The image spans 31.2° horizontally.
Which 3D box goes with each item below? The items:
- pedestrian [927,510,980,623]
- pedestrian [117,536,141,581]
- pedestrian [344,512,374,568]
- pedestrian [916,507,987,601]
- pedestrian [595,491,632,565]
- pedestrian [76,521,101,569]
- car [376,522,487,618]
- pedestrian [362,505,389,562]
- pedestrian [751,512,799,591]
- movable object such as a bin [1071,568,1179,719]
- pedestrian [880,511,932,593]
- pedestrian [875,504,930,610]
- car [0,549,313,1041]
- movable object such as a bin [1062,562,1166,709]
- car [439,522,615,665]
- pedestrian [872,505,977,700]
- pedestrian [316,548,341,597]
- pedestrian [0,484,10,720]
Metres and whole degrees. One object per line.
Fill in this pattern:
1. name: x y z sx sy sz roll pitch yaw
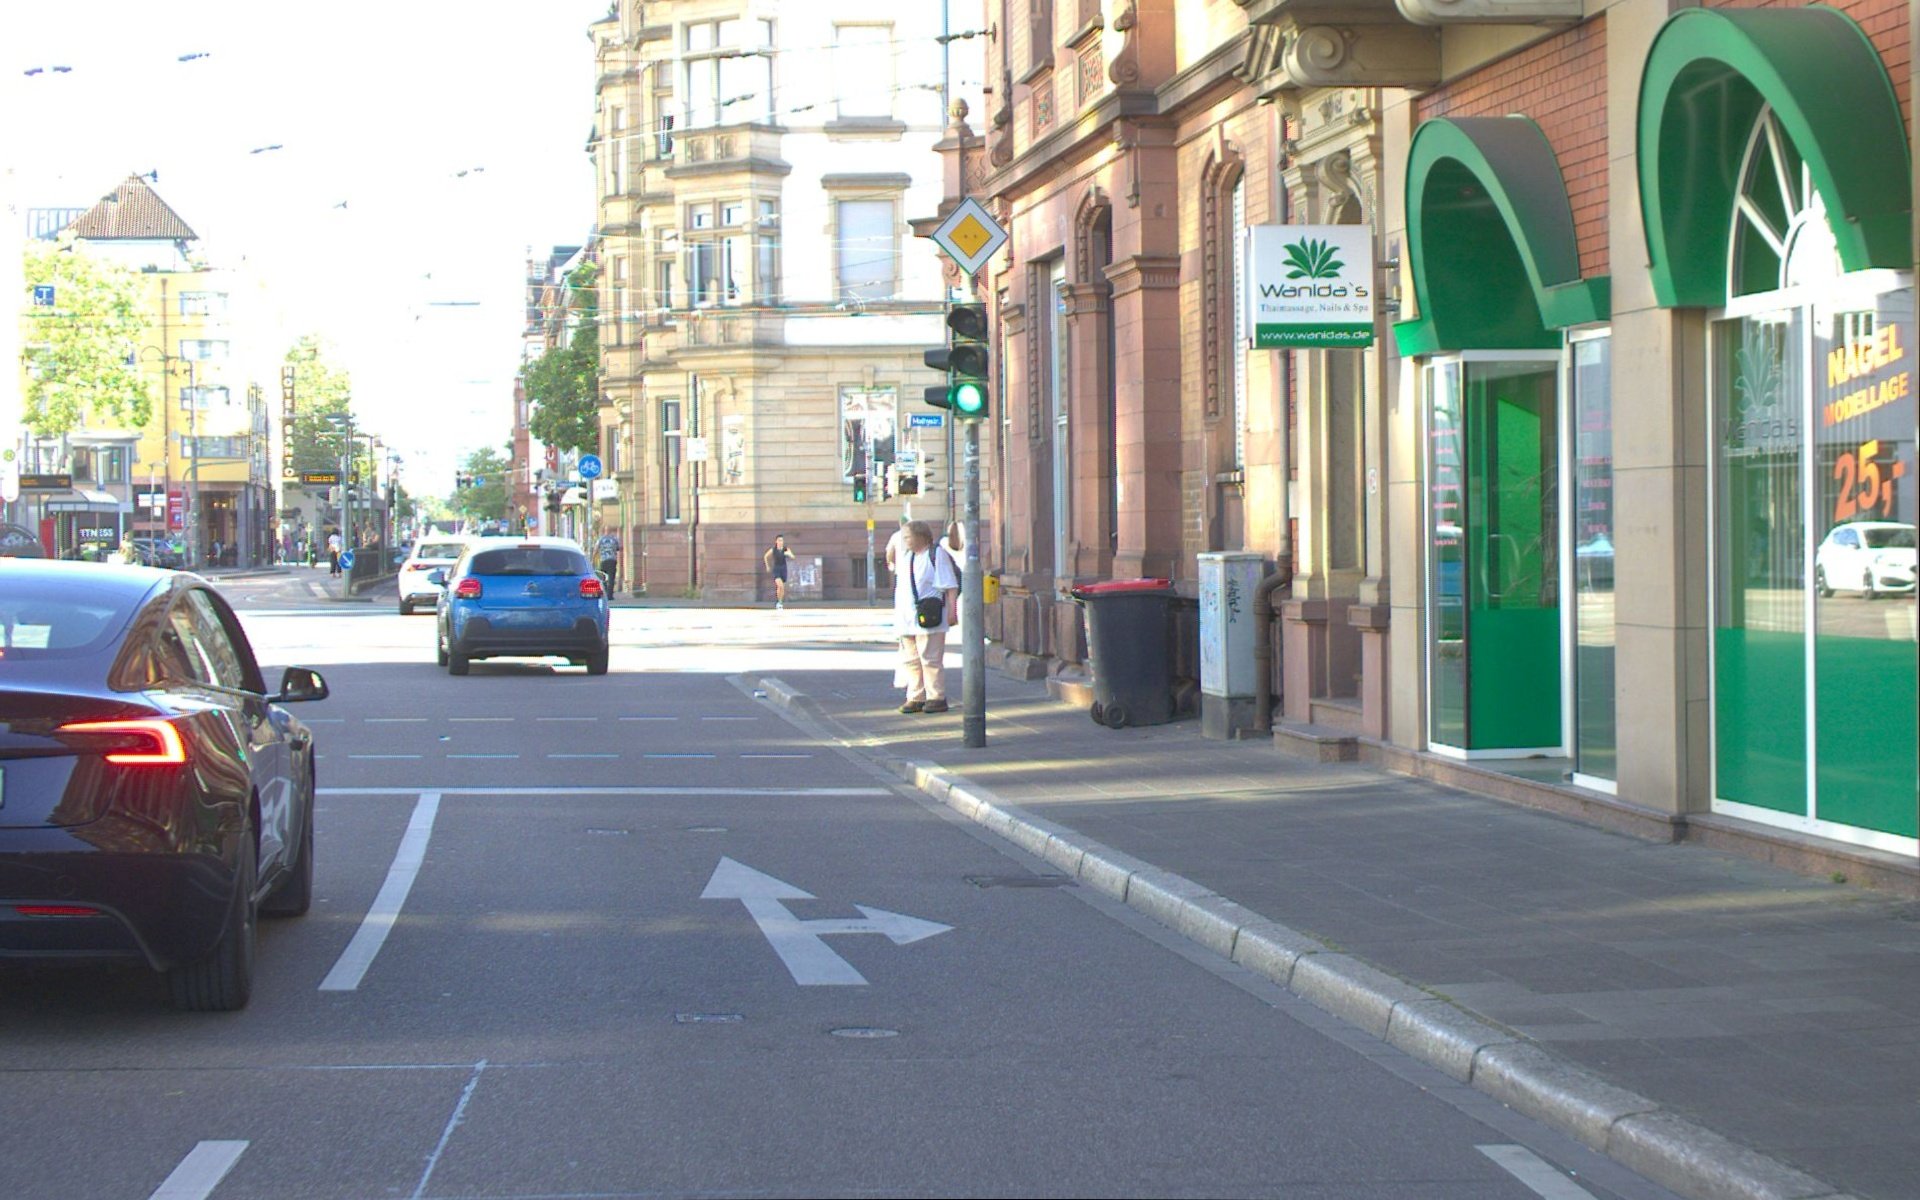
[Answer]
1. pedestrian: -0.098 -0.524 53.700 0.644 1.739 0.705 1 0 14
2. pedestrian: -28.619 -1.426 118.418 0.731 1.553 0.743 0 2 -9
3. pedestrian: -19.079 -1.898 109.102 0.718 1.771 0.564 0 1 28
4. pedestrian: -0.143 -0.800 60.240 0.923 1.626 0.941 -1 0 24
5. pedestrian: -8.258 -1.717 81.943 0.779 1.743 1.093 0 3 -11
6. pedestrian: -28.121 -1.773 110.968 0.731 1.522 0.743 0 2 -9
7. car: -10.043 -0.556 65.504 1.993 1.737 4.001 1 0 -8
8. pedestrian: -17.728 -2.020 104.307 0.636 1.692 0.933 1 0 -1
9. pedestrian: -3.827 -0.996 71.280 0.922 1.626 0.942 -1 0 0
10. movable object such as a bin: 1.226 0.319 25.617 0.663 1.069 0.591 -3 1 -6
11. pedestrian: -1.019 -0.912 65.485 0.633 1.532 0.941 -1 0 24
12. pedestrian: -0.895 -0.667 53.894 0.701 1.649 0.631 -1 0 14
13. car: -3.299 0.544 12.118 1.810 1.419 4.155 1 1 -8
14. movable object such as a bin: 1.168 0.262 26.202 0.663 1.069 0.545 -3 1 -6
15. car: -4.744 -0.099 37.507 1.780 1.446 3.655 1 1 -8
16. pedestrian: -0.301 0.015 28.741 0.681 1.602 0.731 -1 1 -17
17. pedestrian: -19.956 -0.875 108.688 0.586 1.556 0.469 0 1 28
18. pedestrian: -7.436 0.020 25.535 0.558 1.757 0.895 -2 1 -8
